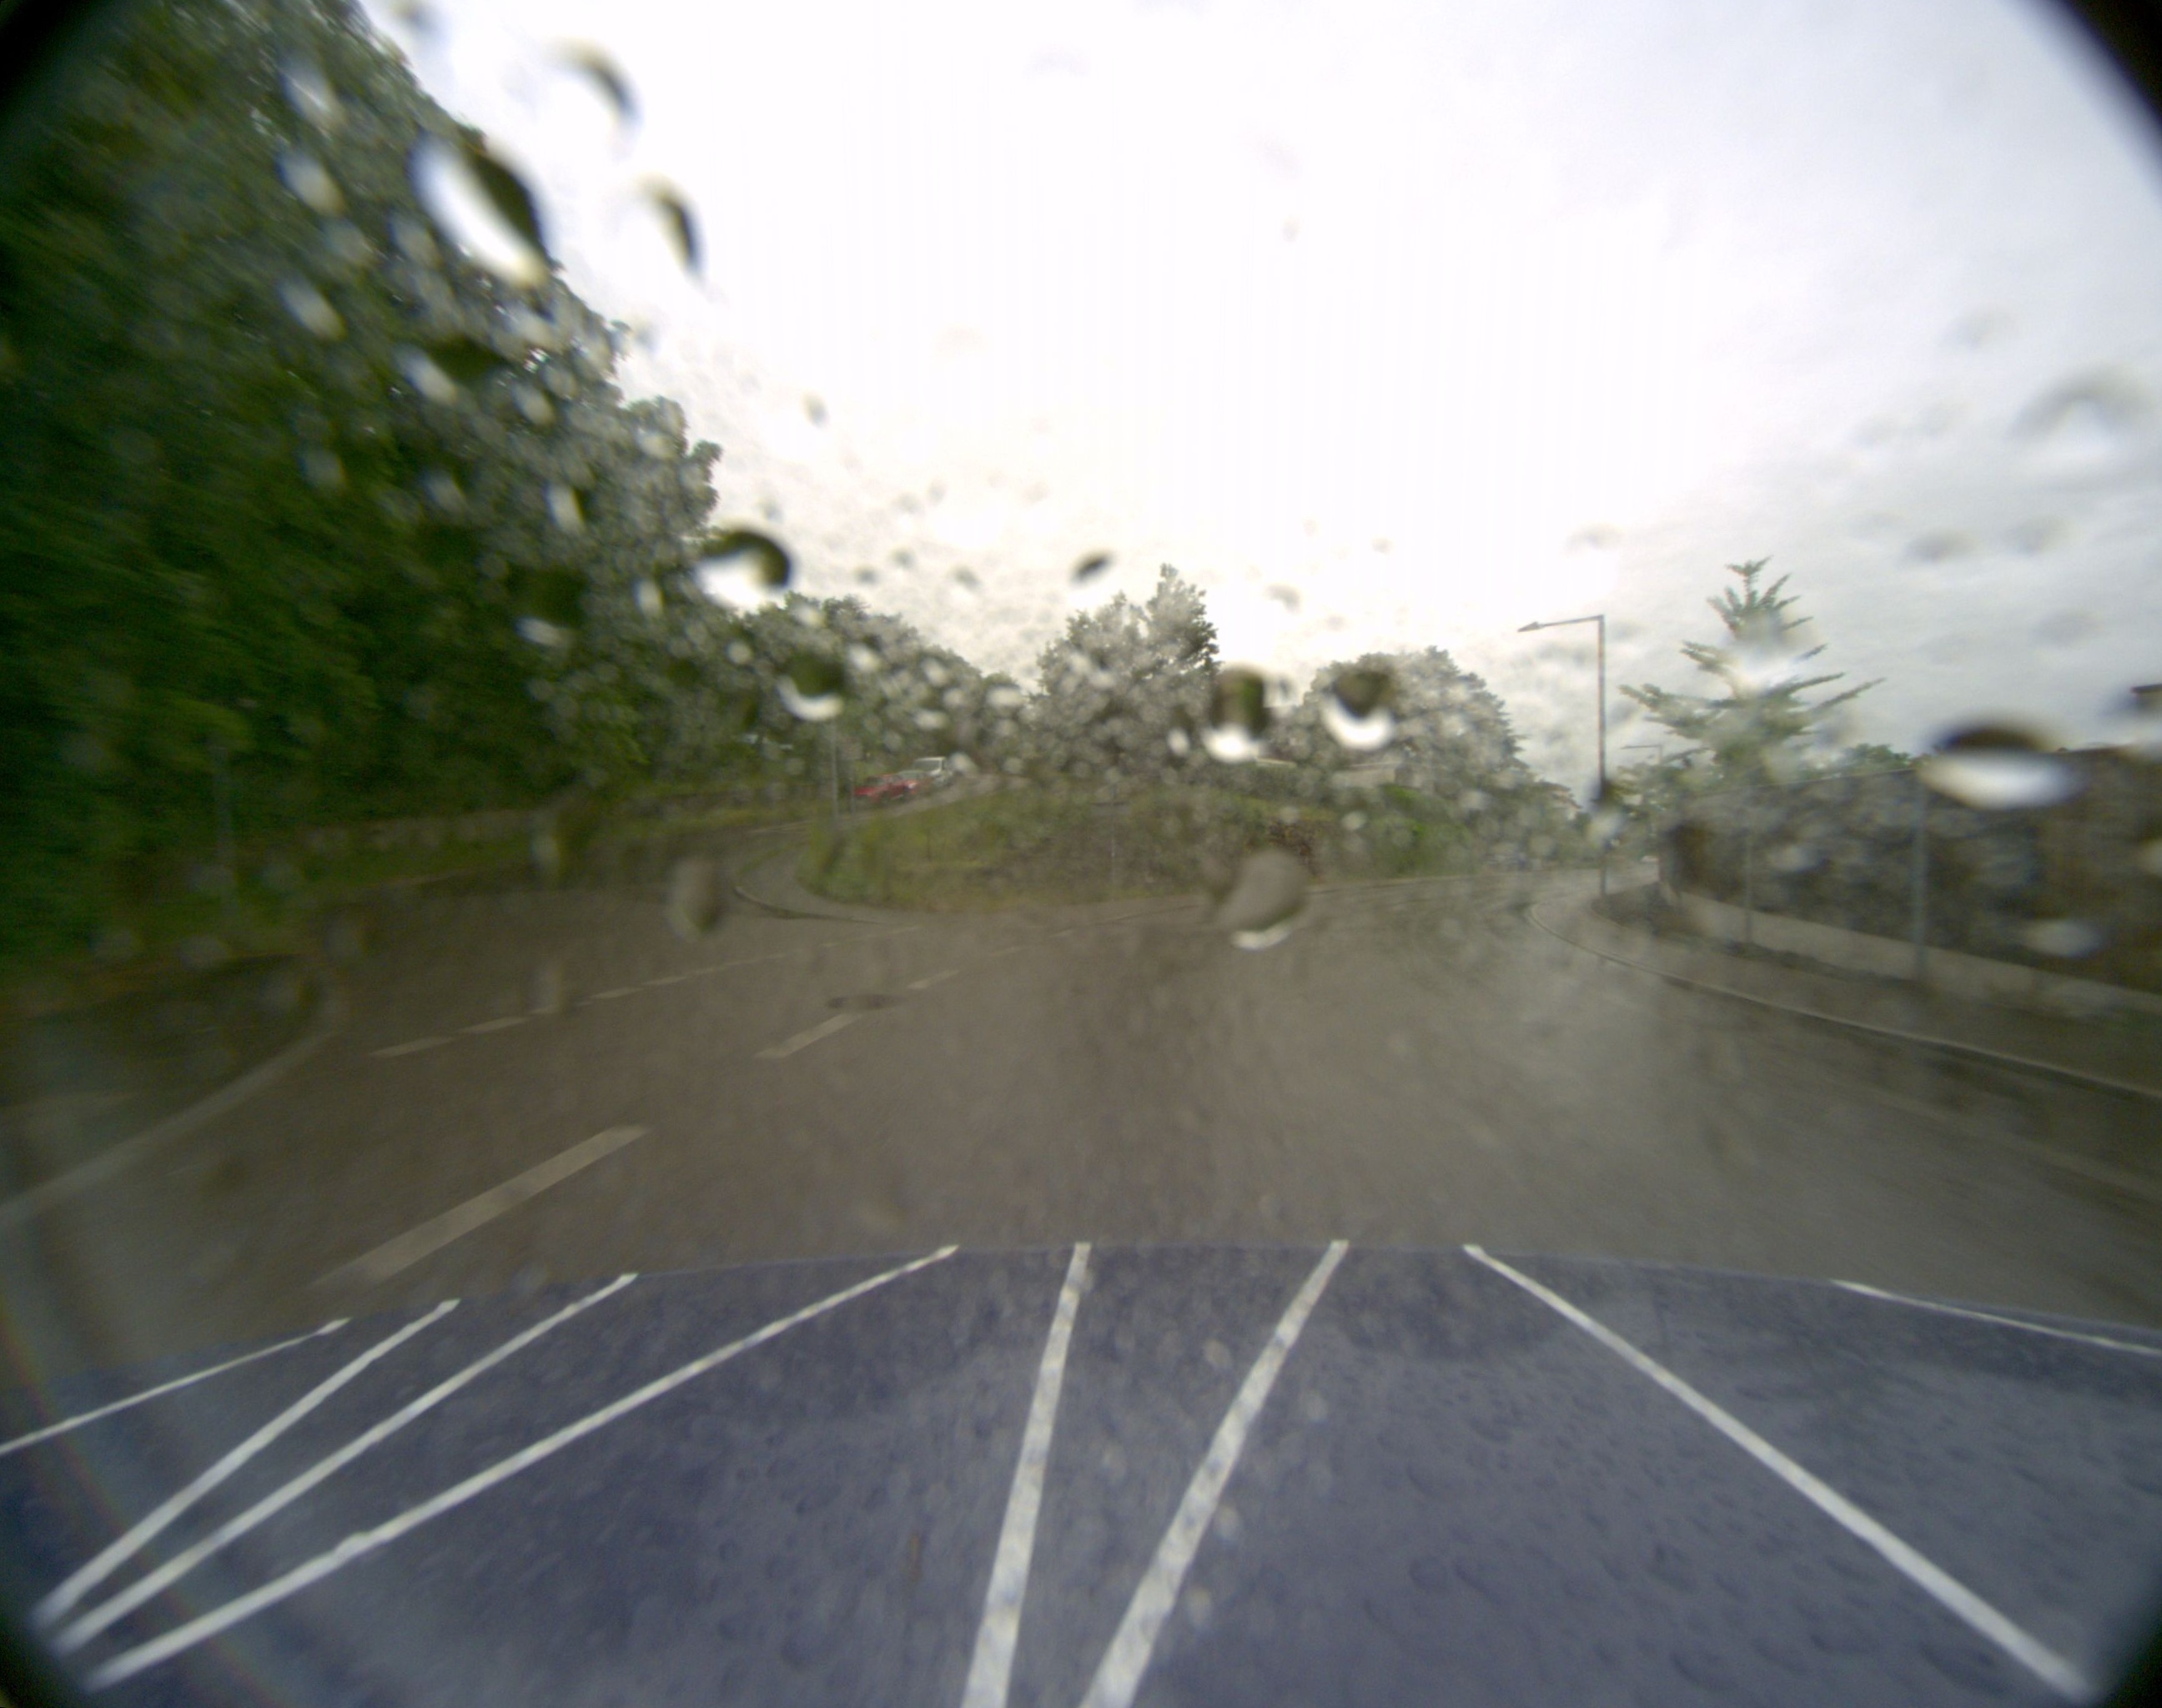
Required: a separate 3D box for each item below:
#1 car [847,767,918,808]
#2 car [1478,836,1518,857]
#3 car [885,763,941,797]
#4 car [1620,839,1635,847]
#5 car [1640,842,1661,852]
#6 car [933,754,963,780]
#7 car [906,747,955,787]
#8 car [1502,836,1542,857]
[{"bbox_3d":[-9.686,-3.334,37.445,1.873,1.504,3.994,0,12,9],"label":"car"},{"bbox_3d":[34.249,-0.636,62.360,1.810,1.555,4.018,3,4,45],"label":"car"},{"bbox_3d":[-9.140,-4.083,41.701,1.874,1.399,3.993,-2,11,4],"label":"car"},{"bbox_3d":[104.644,-2.056,145.424,1.852,1.461,3.706,-2,0,44],"label":"car"},{"bbox_3d":[94.556,-1.168,126.242,1.849,1.452,4.274,-2,0,24],"label":"car"},{"bbox_3d":[-9.290,-6.109,52.788,1.876,1.399,3.989,-4,12,-10],"label":"car"},{"bbox_3d":[-9.270,-5.464,47.189,2.271,1.938,5.439,-3,11,-4],"label":"car"},{"bbox_3d":[38.800,-0.714,66.820,1.994,1.661,4.553,3,4,43],"label":"car"}]
